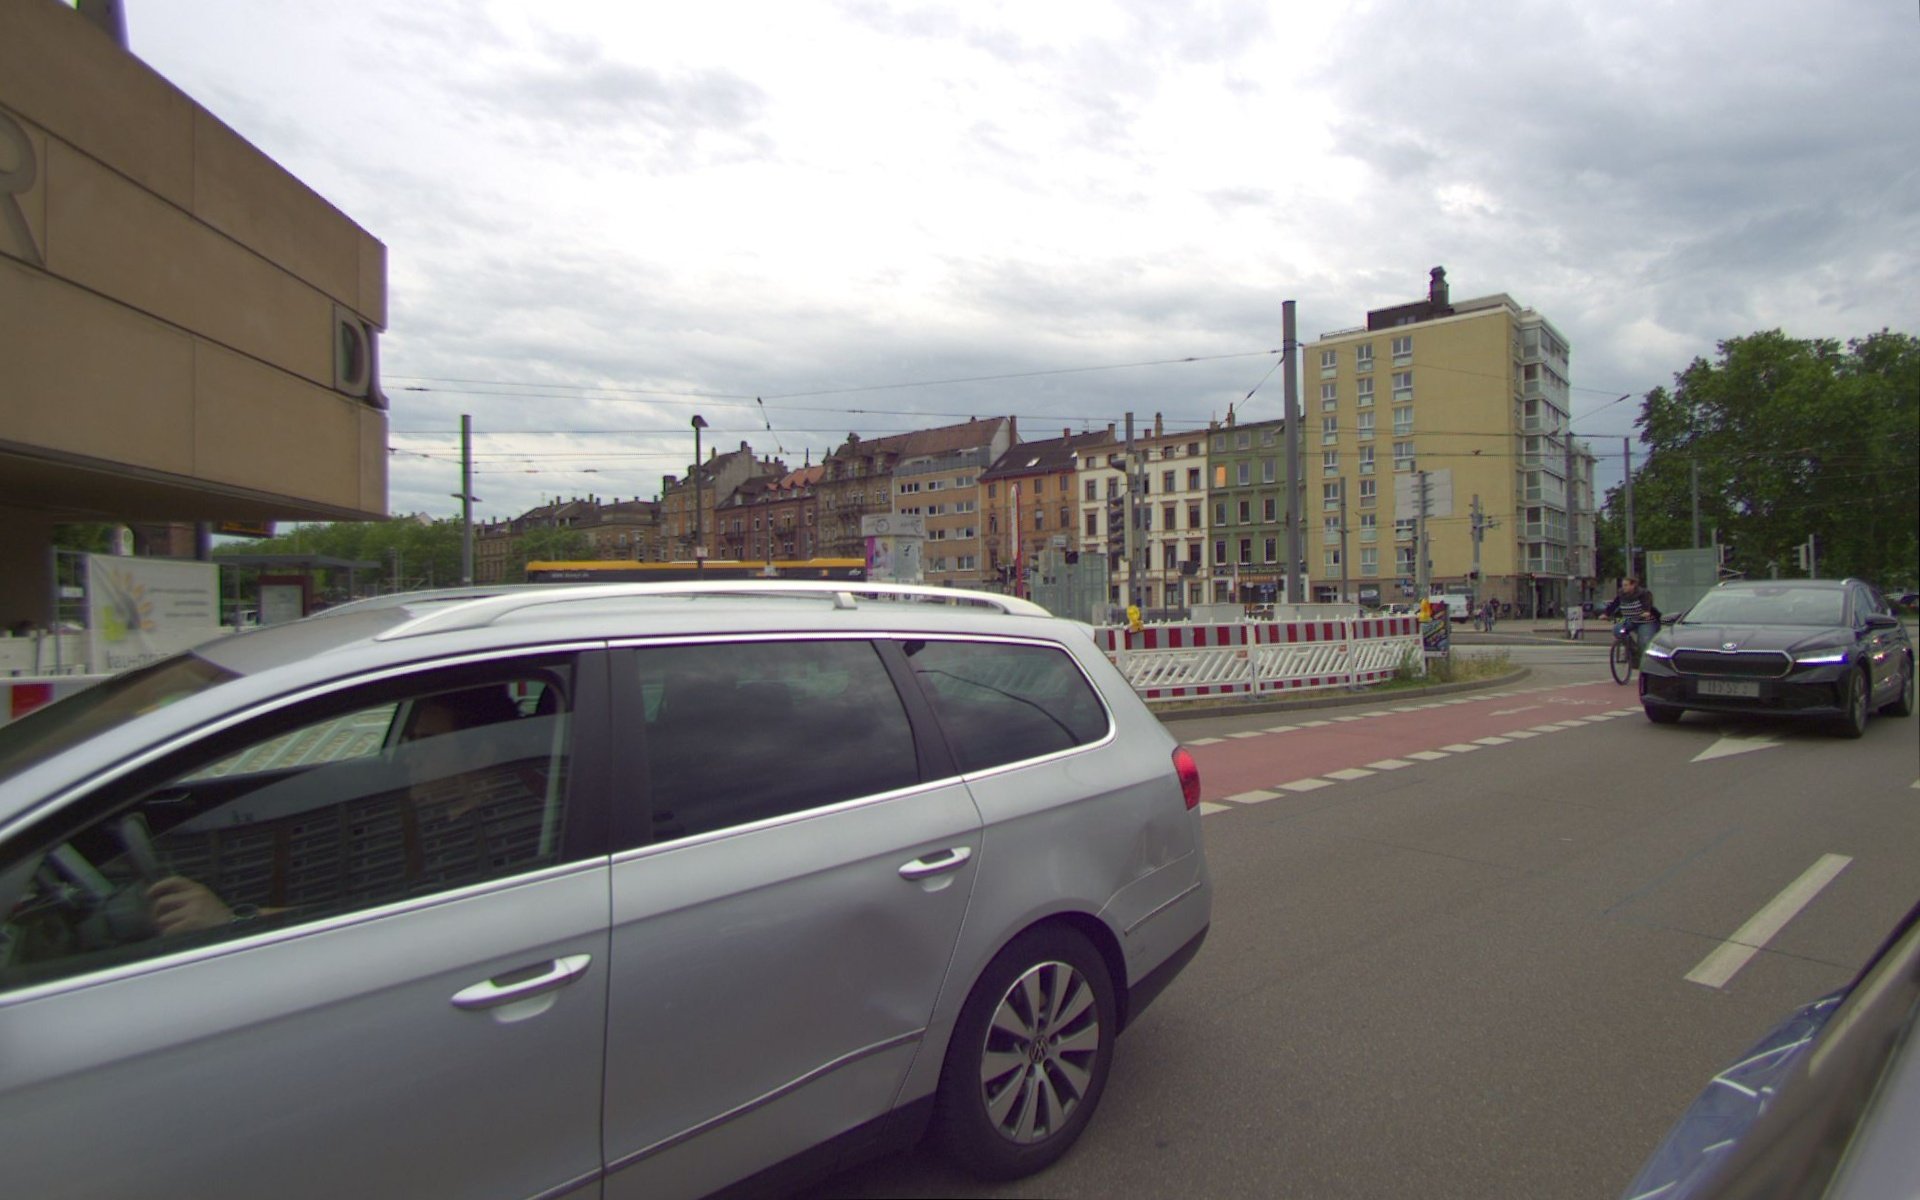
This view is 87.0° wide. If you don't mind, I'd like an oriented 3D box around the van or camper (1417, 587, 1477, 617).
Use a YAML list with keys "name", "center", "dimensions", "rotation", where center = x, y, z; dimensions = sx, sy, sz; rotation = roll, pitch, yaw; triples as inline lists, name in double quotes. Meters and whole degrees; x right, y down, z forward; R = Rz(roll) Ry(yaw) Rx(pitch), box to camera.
- name: "van or camper"
  center: [33.322, 0.139, 69.449]
  dimensions: [2.136, 2.004, 5.453]
  rotation: [-1, 0, 8]

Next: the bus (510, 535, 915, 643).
- name: "bus"
  center: [-7.964, -0.365, 33.937]
  dimensions: [12.786, 3.309, 3.028]
  rotation: [-1, -1, -3]

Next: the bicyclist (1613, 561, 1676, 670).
- name: "bicyclist"
  center: [11.117, 0.252, 16.437]
  dimensions: [0.791, 1.712, 0.617]
  rotation: [1, -1, -39]

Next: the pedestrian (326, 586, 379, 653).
- name: "pedestrian"
  center: [-17.156, 0.542, 28.589]
  dimensions: [1.002, 1.831, 0.826]
  rotation: [-1, -1, 0]

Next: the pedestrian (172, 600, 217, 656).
- name: "pedestrian"
  center: [-23.180, 0.824, 30.656]
  dimensions: [0.786, 1.666, 0.793]
  rotation: [-1, -1, 0]

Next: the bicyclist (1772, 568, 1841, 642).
- name: "bicyclist"
  center: [19.184, 0.128, 22.935]
  dimensions: [0.914, 1.639, 0.792]
  rotation: [0, -2, -21]

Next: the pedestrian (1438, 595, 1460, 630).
- name: "pedestrian"
  center: [22.981, 0.584, 47.578]
  dimensions: [0.774, 1.664, 0.898]
  rotation: [-1, -1, 19]

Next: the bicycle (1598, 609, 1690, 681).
- name: "bicycle"
  center: [11.134, 0.701, 16.447]
  dimensions: [2.087, 1.068, 0.626]
  rotation: [-1, -1, -39]

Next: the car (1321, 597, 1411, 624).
- name: "car"
  center: [23.446, 0.596, 58.596]
  dimensions: [4.432, 1.505, 1.968]
  rotation: [-1, 0, 45]

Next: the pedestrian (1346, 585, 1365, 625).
- name: "pedestrian"
  center: [19.256, 0.228, 49.306]
  dimensions: [0.774, 1.936, 0.898]
  rotation: [-1, -1, 19]

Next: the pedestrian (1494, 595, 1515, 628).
- name: "pedestrian"
  center: [27.366, 0.568, 50.895]
  dimensions: [0.774, 1.622, 0.891]
  rotation: [-1, -1, 19]

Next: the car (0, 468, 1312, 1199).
- name: "car"
  center: [-1.127, 0.576, 2.454]
  dimensions: [4.547, 1.501, 1.723]
  rotation: [0, 0, -41]

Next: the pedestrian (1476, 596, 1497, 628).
- name: "pedestrian"
  center: [26.736, 0.604, 51.417]
  dimensions: [0.758, 1.632, 0.946]
  rotation: [-1, -1, 19]

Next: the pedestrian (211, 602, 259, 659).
- name: "pedestrian"
  center: [-21.846, 0.911, 30.522]
  dimensions: [0.902, 1.666, 0.785]
  rotation: [-1, -1, 0]

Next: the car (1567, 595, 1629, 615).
- name: "car"
  center: [49.712, 0.382, 78.854]
  dimensions: [3.973, 1.483, 1.975]
  rotation: [-1, -1, 35]

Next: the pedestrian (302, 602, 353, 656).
- name: "pedestrian"
  center: [-20.171, 0.909, 32.304]
  dimensions: [1.002, 1.666, 1.007]
  rotation: [-1, -1, 0]

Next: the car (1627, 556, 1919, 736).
- name: "car"
  center: [9.546, 0.425, 11.617]
  dimensions: [4.433, 1.679, 1.907]
  rotation: [0, 0, -39]

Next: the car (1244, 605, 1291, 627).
- name: "car"
  center: [23.157, 1.166, 76.342]
  dimensions: [1.700, 1.607, 3.745]
  rotation: [-1, 0, -12]

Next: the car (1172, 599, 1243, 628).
- name: "car"
  center: [16.023, 0.873, 65.608]
  dimensions: [3.987, 1.772, 1.968]
  rotation: [-1, 0, 45]

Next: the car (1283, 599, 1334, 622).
- name: "car"
  center: [25.560, 0.741, 74.433]
  dimensions: [1.852, 1.602, 3.745]
  rotation: [-1, 0, -12]

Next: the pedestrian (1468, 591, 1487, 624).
- name: "pedestrian"
  center: [28.734, 0.399, 56.201]
  dimensions: [0.778, 1.779, 1.042]
  rotation: [0, 0, 20]

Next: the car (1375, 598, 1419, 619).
- name: "car"
  center: [30.847, 0.580, 71.542]
  dimensions: [1.706, 1.435, 3.733]
  rotation: [-1, 0, 5]

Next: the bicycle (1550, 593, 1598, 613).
- name: "bicycle"
  center: [43.310, 0.234, 71.376]
  dimensions: [2.775, 1.395, 0.889]
  rotation: [-1, 0, 44]
